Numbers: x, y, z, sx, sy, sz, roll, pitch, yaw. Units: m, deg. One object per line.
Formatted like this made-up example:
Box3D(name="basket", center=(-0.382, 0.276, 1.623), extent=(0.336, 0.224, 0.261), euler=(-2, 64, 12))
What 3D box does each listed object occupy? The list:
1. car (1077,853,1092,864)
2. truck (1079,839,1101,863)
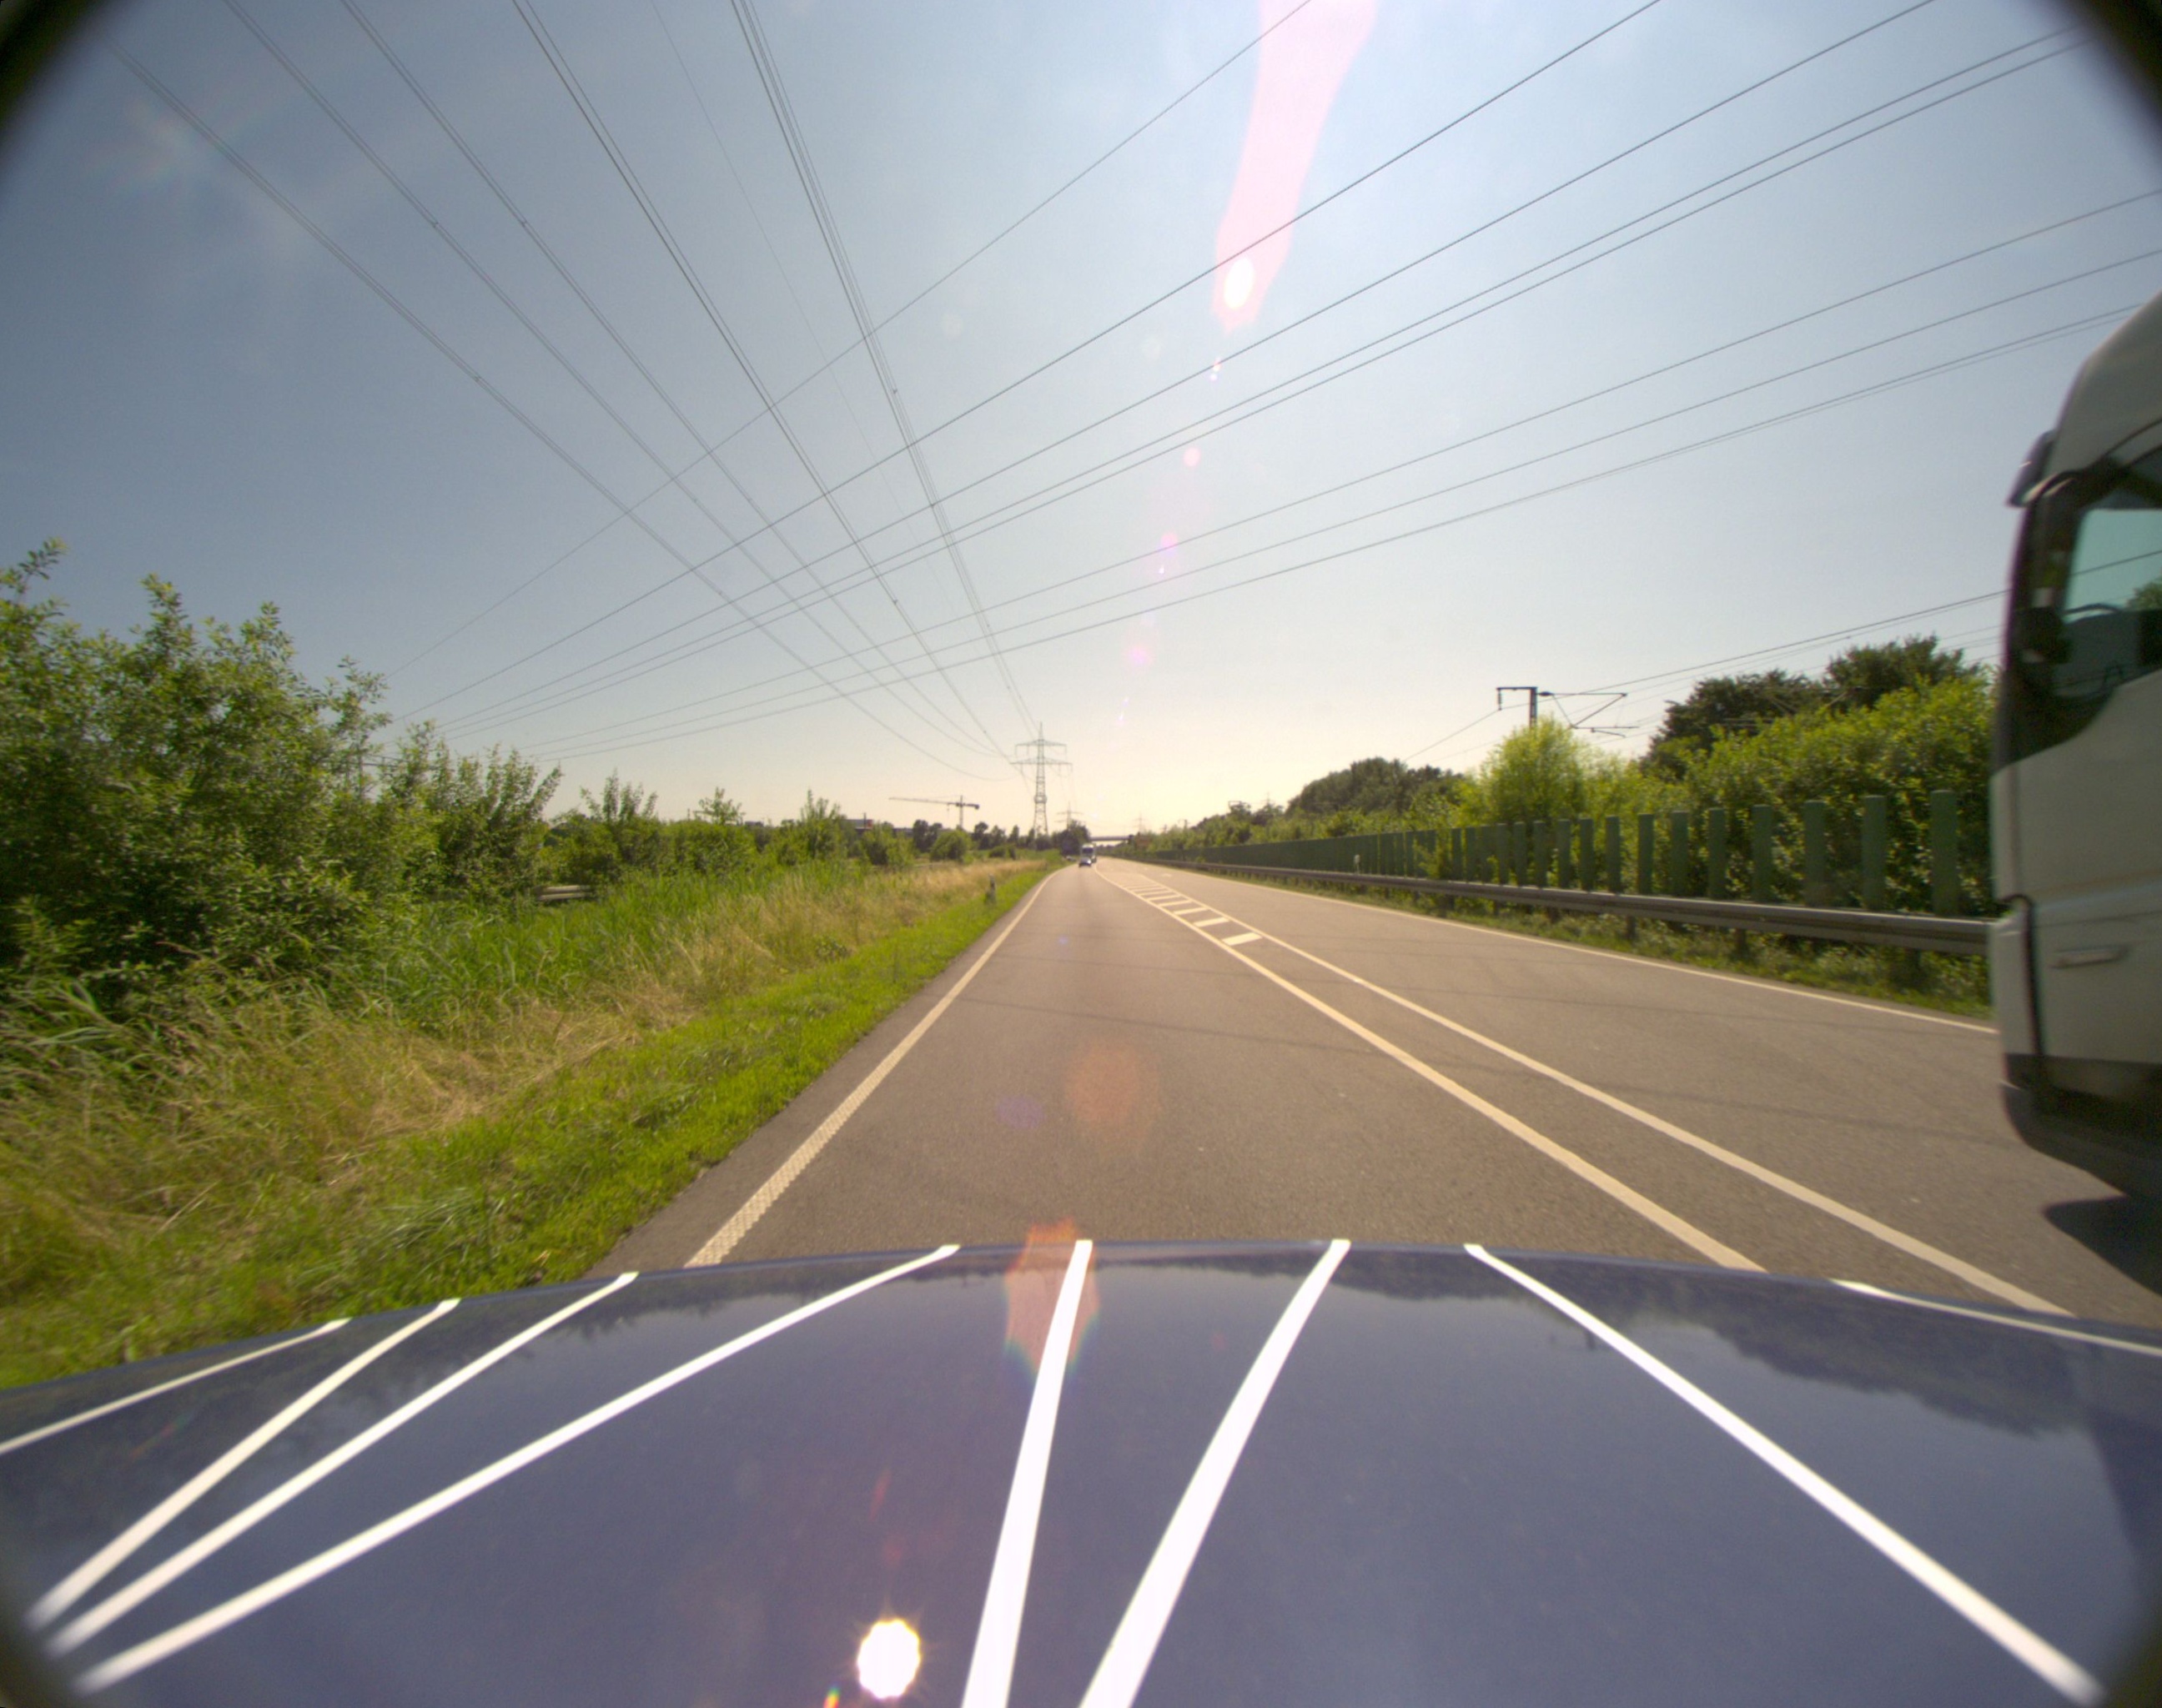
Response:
Box3D(name="car", center=(0.461, 0.546, 102.125), extent=(1.998, 1.346, 4.157), euler=(-2, 1, 1))
Box3D(name="truck", center=(1.878, -0.549, 161.033), extent=(4.219, 4.608, 21.303), euler=(-2, 0, 1))
